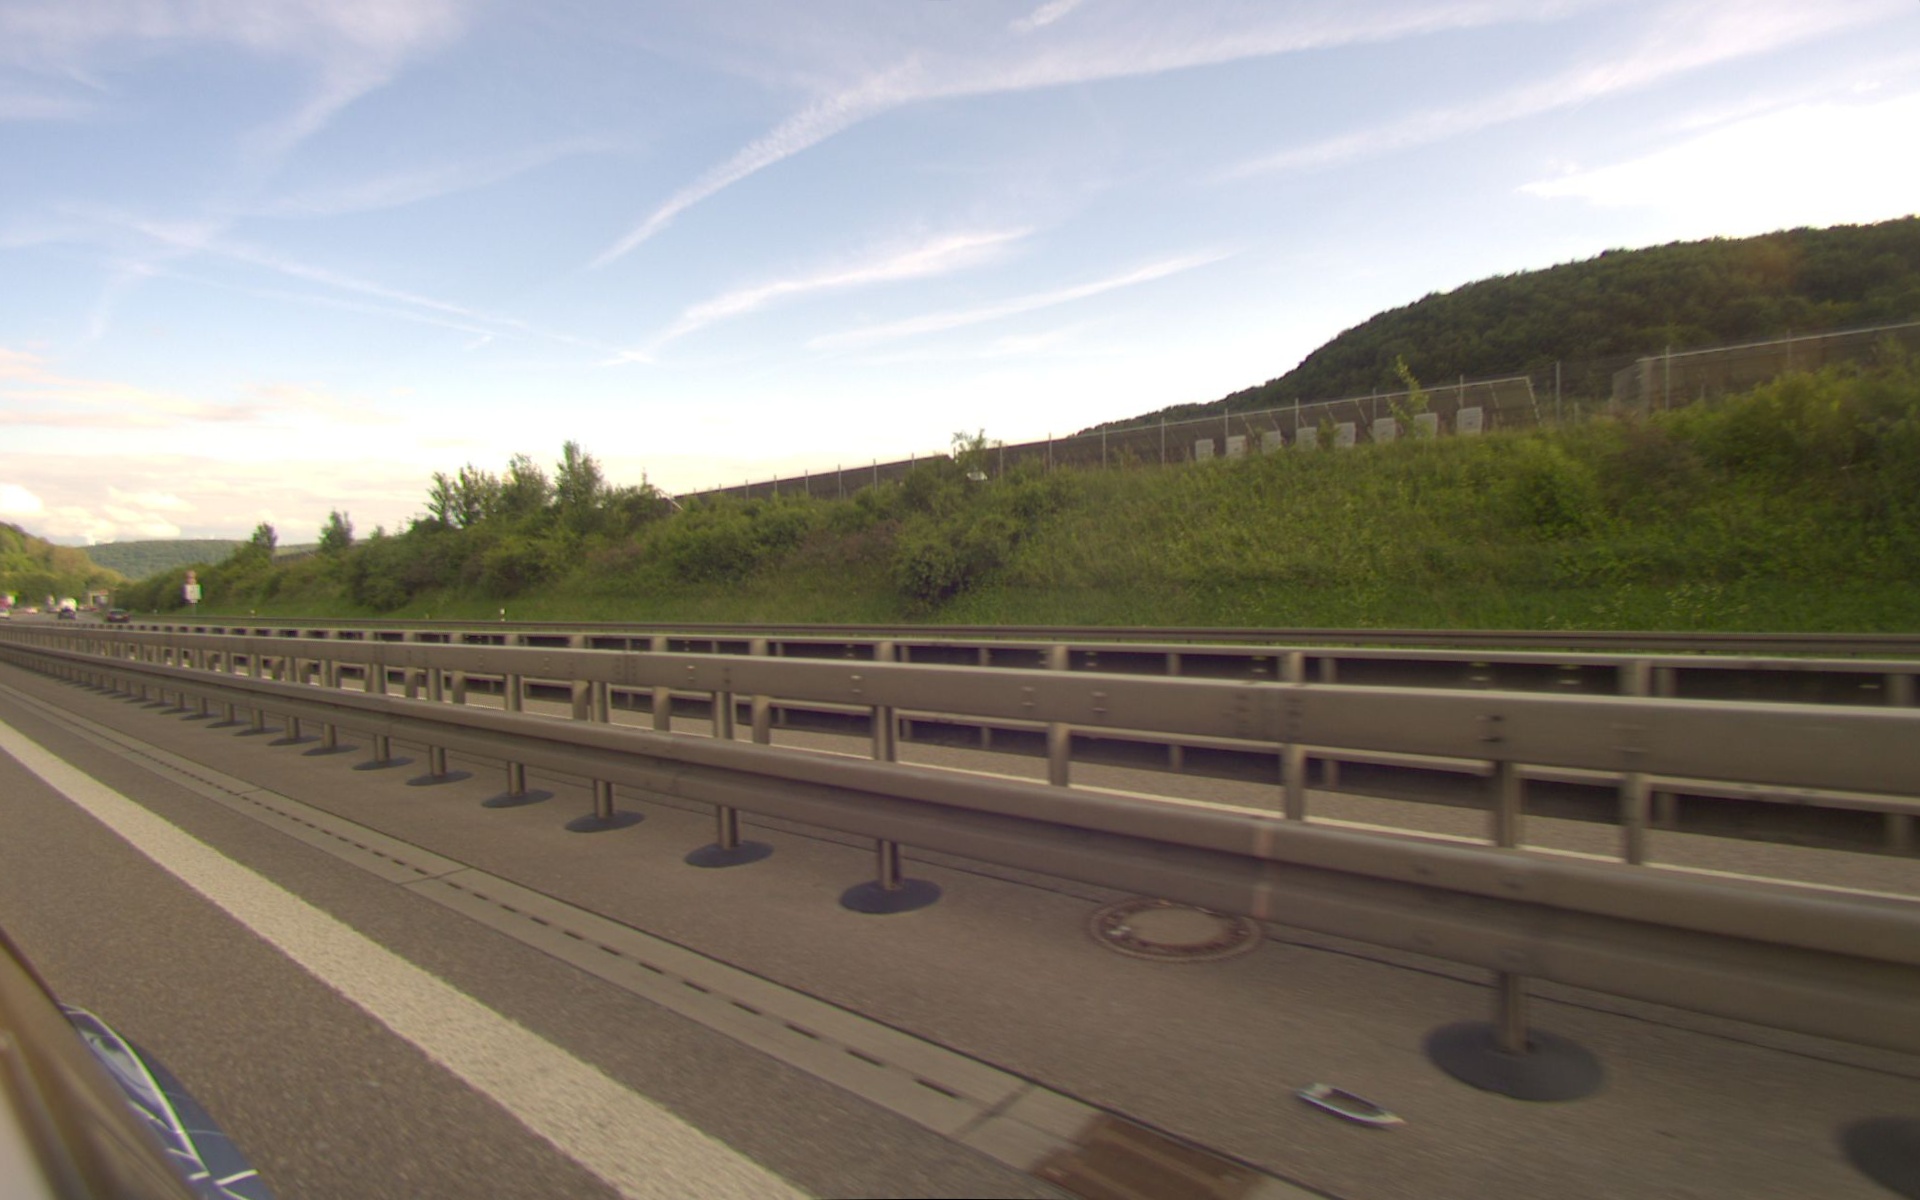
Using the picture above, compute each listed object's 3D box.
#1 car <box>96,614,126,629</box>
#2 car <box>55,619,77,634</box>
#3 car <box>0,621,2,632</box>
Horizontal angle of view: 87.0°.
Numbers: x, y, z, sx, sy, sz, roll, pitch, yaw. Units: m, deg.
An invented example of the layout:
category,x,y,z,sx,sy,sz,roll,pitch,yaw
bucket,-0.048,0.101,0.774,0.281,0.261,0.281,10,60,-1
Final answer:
category,x,y,z,sx,sy,sz,roll,pitch,yaw
car,-82.490,2.047,98.356,3.999,1.426,1.688,-1,0,42
car,-129.950,3.831,147.069,5.020,2.055,1.941,-1,0,43
car,-146.248,4.024,152.988,5.020,1.603,1.813,-1,0,43
